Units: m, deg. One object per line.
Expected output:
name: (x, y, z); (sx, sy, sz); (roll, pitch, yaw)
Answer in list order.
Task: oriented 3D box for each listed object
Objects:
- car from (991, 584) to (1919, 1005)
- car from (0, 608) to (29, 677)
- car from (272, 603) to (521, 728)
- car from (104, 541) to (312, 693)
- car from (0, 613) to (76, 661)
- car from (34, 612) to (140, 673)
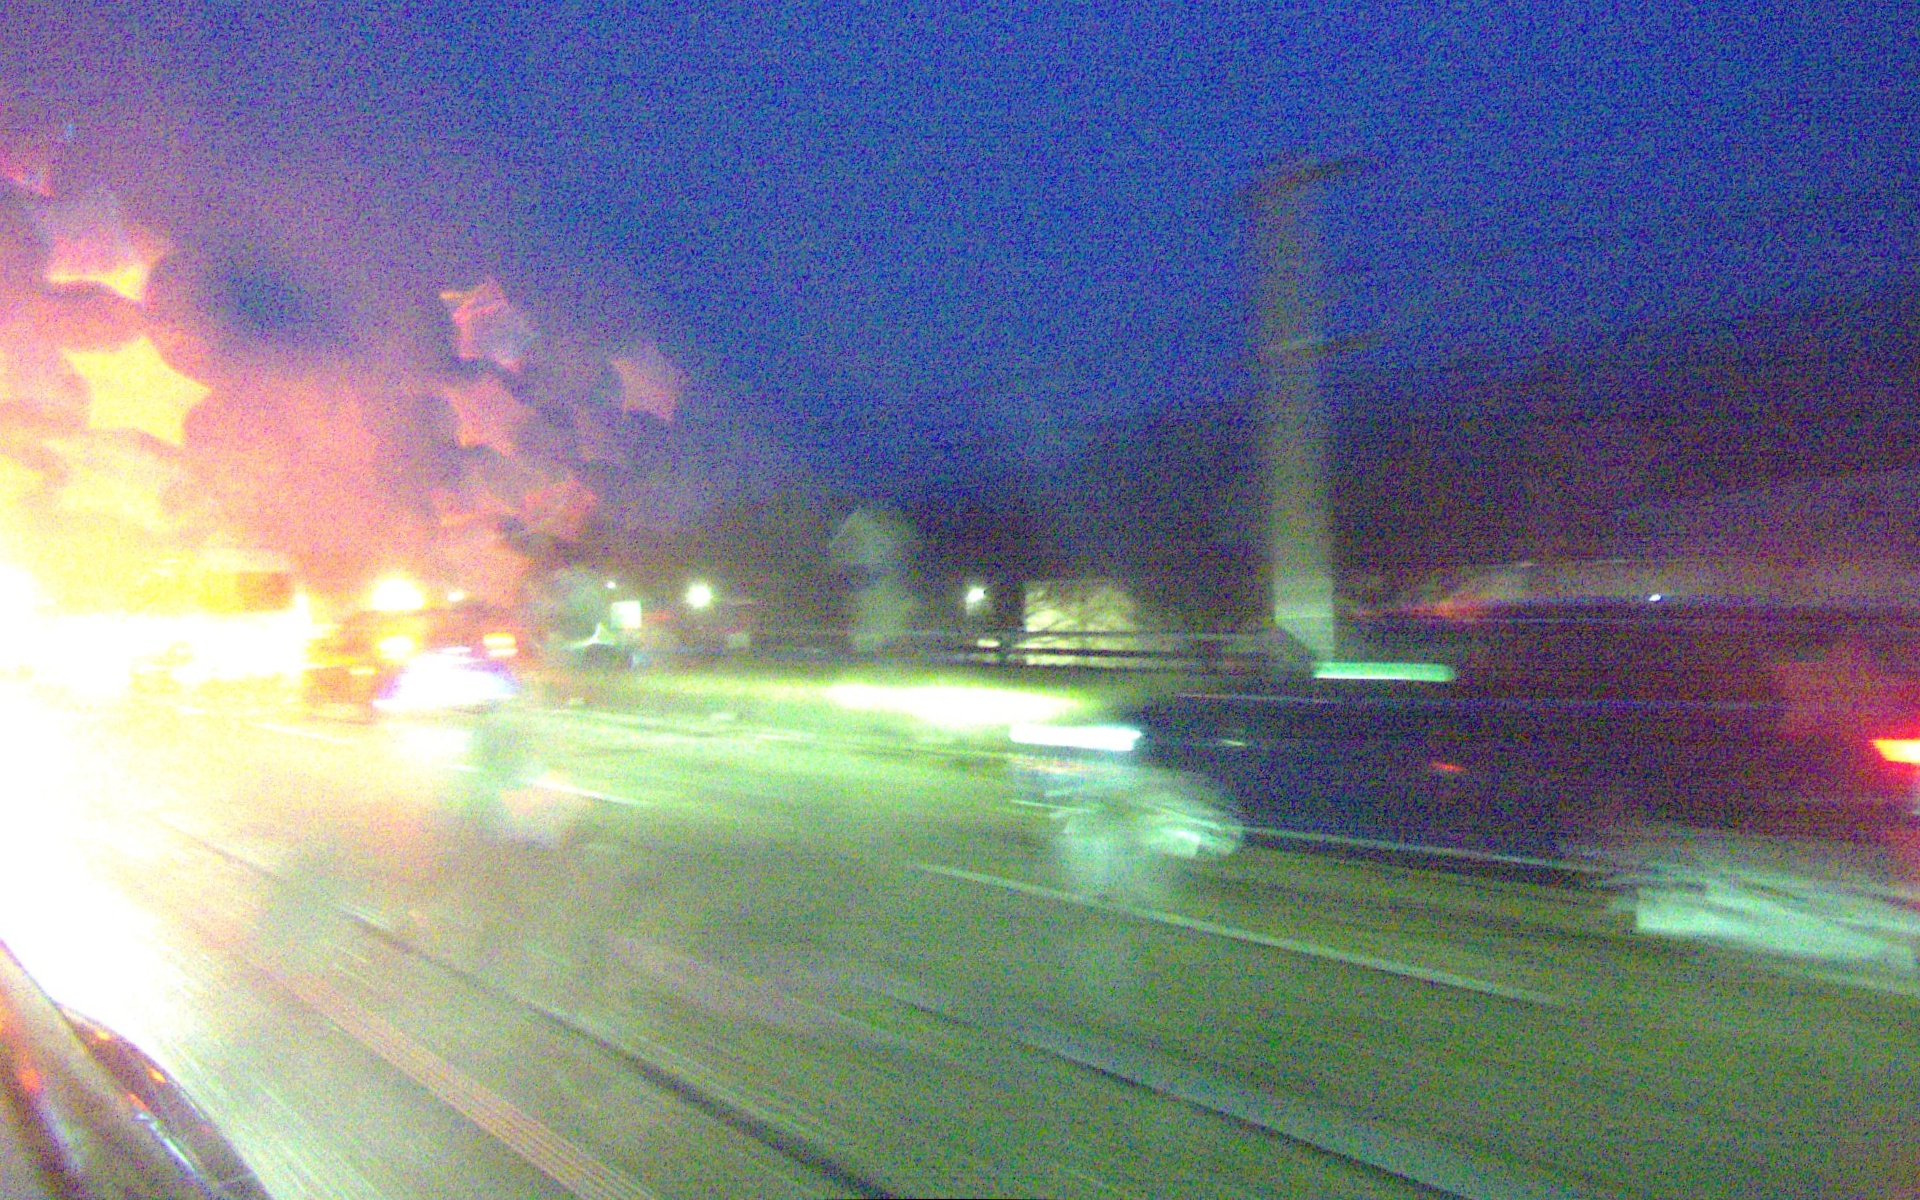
car: (2.759, 0.687, 5.358); (4.988, 1.460, 2.056); (-1, 0, 40)
car: (-25.142, 1.070, 25.467); (4.409, 1.642, 1.788); (-1, 0, 38)
car: (-8.334, 0.861, 14.840); (3.984, 1.548, 1.860); (-1, 0, 40)
car: (-15.760, 0.329, 21.037); (6.236, 2.728, 2.101); (-1, 0, 40)
car: (-31.825, 1.243, 34.739); (3.825, 1.519, 1.702); (-1, 0, 41)
car: (-25.488, 1.184, 29.496); (4.309, 1.600, 1.703); (-1, 0, 41)
